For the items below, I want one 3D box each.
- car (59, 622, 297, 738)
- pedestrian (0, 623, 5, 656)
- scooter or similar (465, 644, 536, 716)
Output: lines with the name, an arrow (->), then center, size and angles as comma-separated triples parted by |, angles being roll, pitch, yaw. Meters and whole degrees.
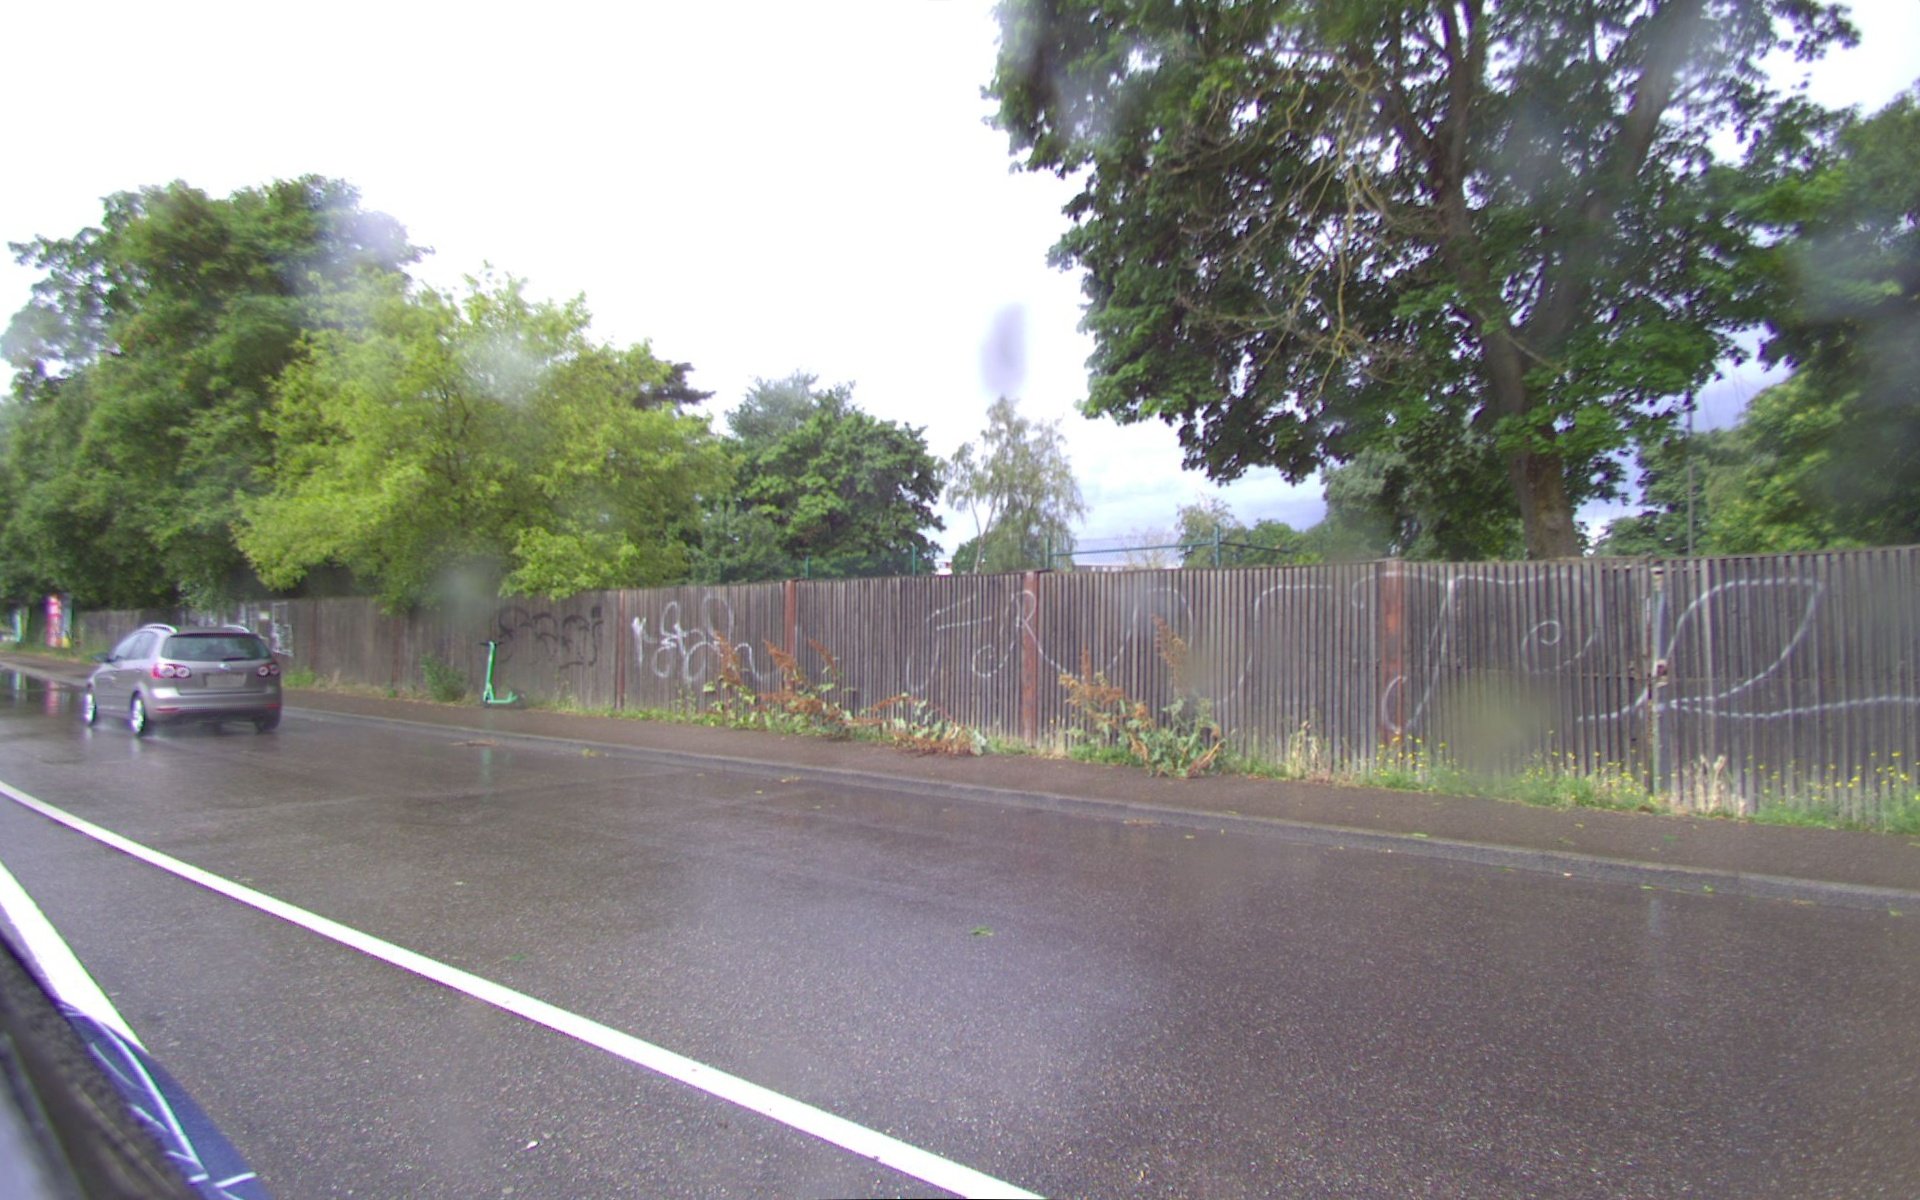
car -> -12.191, 1.180, 15.685 | 4.419, 1.564, 1.764 | -2, -5, 37
pedestrian -> -53.605, 2.185, 56.105 | 0.644, 1.783, 0.830 | -2, -3, 41
scooter or similar -> -7.891, 1.352, 17.373 | 1.205, 1.171, 0.557 | -1, -2, 34
